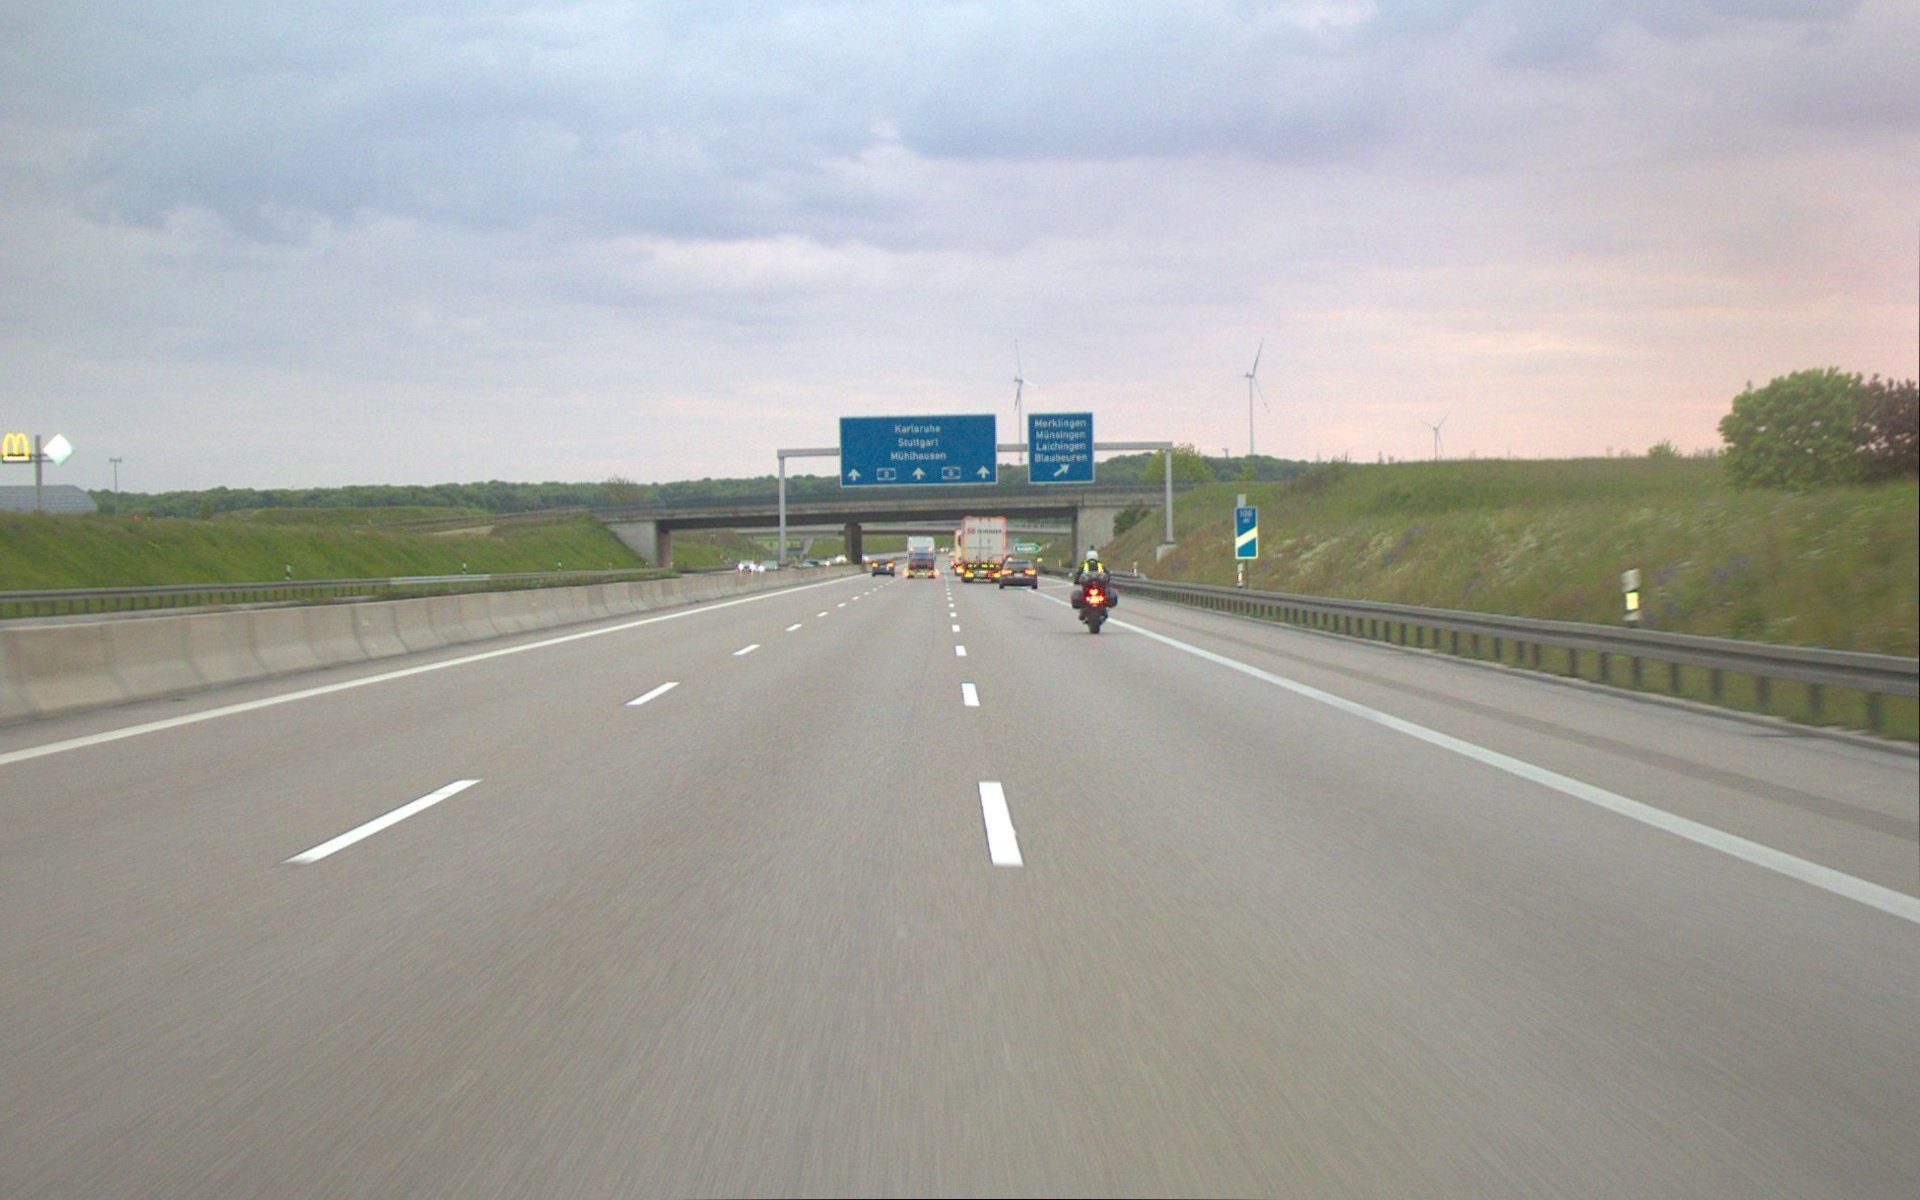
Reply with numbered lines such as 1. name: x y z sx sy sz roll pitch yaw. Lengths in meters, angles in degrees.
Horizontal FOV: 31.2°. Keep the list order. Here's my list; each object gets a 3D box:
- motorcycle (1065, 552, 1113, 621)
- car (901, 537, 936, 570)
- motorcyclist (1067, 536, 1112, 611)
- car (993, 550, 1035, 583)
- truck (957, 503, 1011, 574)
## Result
1. motorcycle: 2.612 -0.280 69.819 0.902 1.342 2.349 0 2 0
2. car: -3.091 -3.451 253.380 2.516 2.383 6.497 0 1 -1
3. motorcyclist: 2.625 -0.549 69.687 0.866 1.482 1.168 1 1 1
4. car: 2.661 -1.671 170.227 1.918 1.574 4.000 0 1 -1
5. truck: 1.463 -3.824 212.551 3.234 4.213 9.599 1 1 0
